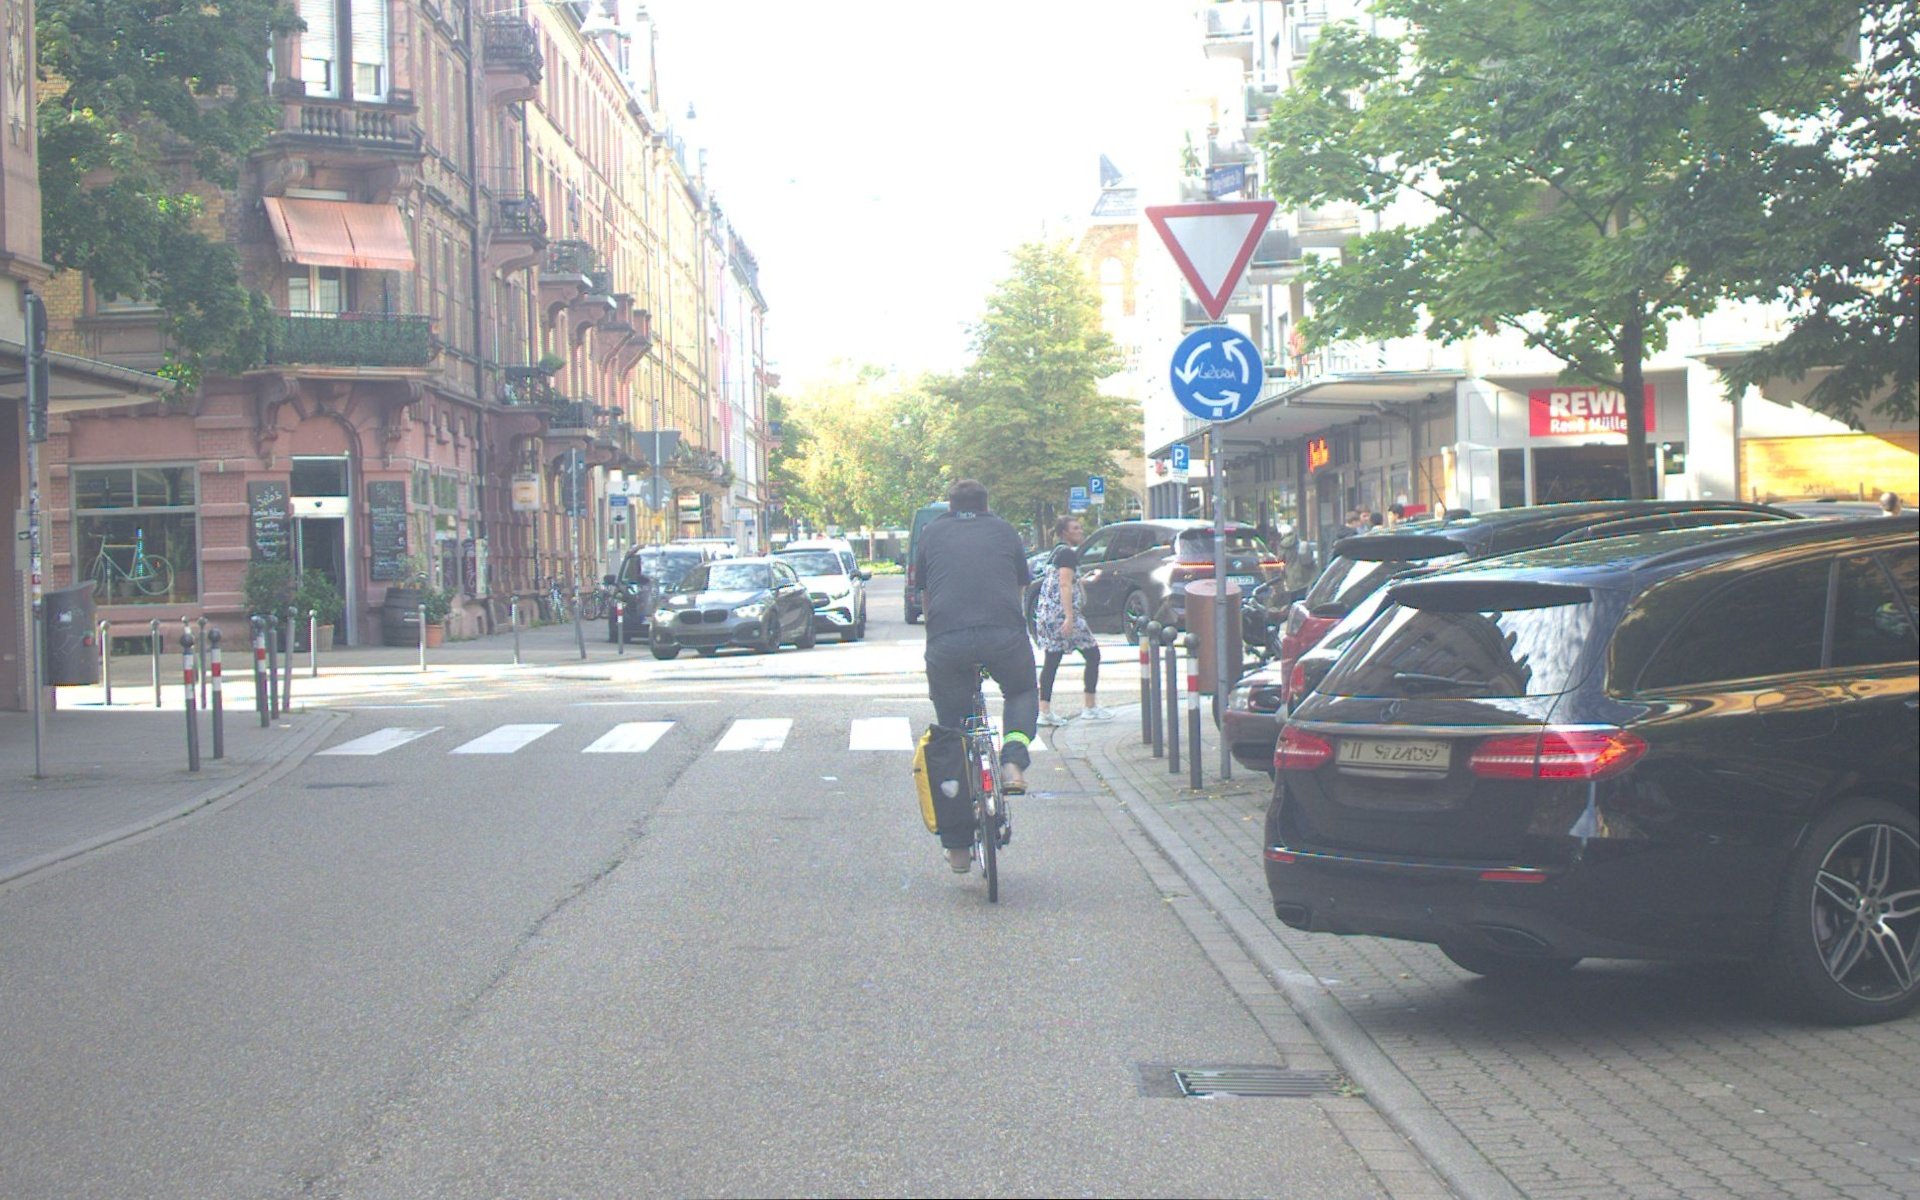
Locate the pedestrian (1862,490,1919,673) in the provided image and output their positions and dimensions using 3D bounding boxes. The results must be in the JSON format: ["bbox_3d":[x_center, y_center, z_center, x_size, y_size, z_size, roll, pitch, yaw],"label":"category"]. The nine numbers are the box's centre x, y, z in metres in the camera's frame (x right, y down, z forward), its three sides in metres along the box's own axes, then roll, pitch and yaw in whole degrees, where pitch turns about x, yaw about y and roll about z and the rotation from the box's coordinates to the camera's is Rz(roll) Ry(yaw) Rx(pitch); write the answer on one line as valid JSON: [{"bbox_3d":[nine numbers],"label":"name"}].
[{"bbox_3d":[9.079,-0.186,33.176,0.629,1.733,0.775,-2,1,12],"label":"pedestrian"}]

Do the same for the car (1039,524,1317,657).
[{"bbox_3d":[2.831,-0.136,45.480,1.993,1.612,4.001,-2,1,-24],"label":"car"}]

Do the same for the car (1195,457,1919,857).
[{"bbox_3d":[3.575,0.192,17.405,4.340,1.639,1.822,-5,2,-26],"label":"car"}]

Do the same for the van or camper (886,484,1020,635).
[{"bbox_3d":[-0.196,-0.863,72.453,2.531,3.027,4.459,-2,1,-3],"label":"van or camper"}]

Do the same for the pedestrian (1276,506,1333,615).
[{"bbox_3d":[5.244,-0.604,52.264,0.745,1.623,0.812,-2,1,11],"label":"pedestrian"}]

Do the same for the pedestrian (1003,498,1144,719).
[{"bbox_3d":[0.940,0.070,28.319,0.783,1.773,0.791,-1,1,38],"label":"pedestrian"}]

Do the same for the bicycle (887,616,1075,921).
[{"bbox_3d":[0.060,0.680,15.042,0.665,1.174,2.497,0,1,-3],"label":"bicycle"}]

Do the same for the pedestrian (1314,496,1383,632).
[{"bbox_3d":[5.384,-0.502,47.686,0.869,1.845,0.612,-2,1,5],"label":"pedestrian"}]

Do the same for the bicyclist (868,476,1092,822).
[{"bbox_3d":[0.077,0.204,15.105,0.933,1.479,0.747,0,1,-3],"label":"bicyclist"}]

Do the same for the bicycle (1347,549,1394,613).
[{"bbox_3d":[6.667,-0.317,55.933,0.362,1.013,1.431,-2,1,-9],"label":"bicycle"}]

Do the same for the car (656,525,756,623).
[{"bbox_3d":[-5.476,-0.581,74.589,1.993,2.007,4.001,-2,1,-3],"label":"car"}]

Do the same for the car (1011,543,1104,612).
[{"bbox_3d":[2.225,-0.534,79.397,1.993,1.481,4.000,-2,1,0],"label":"car"}]

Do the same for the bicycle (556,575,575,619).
[{"bbox_3d":[-8.871,-0.073,77.372,0.360,0.944,1.716,-1,1,-5],"label":"bicycle"}]

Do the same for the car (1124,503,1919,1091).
[{"bbox_3d":[3.147,0.448,11.427,4.753,1.452,2.057,-4,3,-28],"label":"car"}]

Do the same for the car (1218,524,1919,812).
[{"bbox_3d":[3.661,0.340,20.040,3.931,1.452,1.770,-2,1,-28],"label":"car"}]

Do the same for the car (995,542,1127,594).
[{"bbox_3d":[3.164,-1.027,108.582,3.986,1.481,2.000,-2,1,-2],"label":"car"}]

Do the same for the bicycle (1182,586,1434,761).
[{"bbox_3d":[2.206,0.470,22.038,0.548,1.036,1.857,-6,2,-30],"label":"bicycle"}]

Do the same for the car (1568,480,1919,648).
[{"bbox_3d":[9.529,-0.418,38.671,4.840,1.718,2.038,-1,3,39],"label":"car"}]

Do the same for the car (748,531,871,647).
[{"bbox_3d":[-2.573,-0.232,59.718,1.942,1.716,4.850,-3,2,-1],"label":"car"}]

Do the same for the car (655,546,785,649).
[{"bbox_3d":[-3.486,-0.038,50.526,1.750,1.431,4.212,-1,0,-2],"label":"car"}]

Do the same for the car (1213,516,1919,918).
[{"bbox_3d":[3.505,0.391,14.740,4.400,1.452,1.943,-2,1,-25],"label":"car"}]

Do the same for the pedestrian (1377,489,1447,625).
[{"bbox_3d":[6.260,-0.592,47.628,0.869,1.845,0.612,-2,1,5],"label":"pedestrian"}]
